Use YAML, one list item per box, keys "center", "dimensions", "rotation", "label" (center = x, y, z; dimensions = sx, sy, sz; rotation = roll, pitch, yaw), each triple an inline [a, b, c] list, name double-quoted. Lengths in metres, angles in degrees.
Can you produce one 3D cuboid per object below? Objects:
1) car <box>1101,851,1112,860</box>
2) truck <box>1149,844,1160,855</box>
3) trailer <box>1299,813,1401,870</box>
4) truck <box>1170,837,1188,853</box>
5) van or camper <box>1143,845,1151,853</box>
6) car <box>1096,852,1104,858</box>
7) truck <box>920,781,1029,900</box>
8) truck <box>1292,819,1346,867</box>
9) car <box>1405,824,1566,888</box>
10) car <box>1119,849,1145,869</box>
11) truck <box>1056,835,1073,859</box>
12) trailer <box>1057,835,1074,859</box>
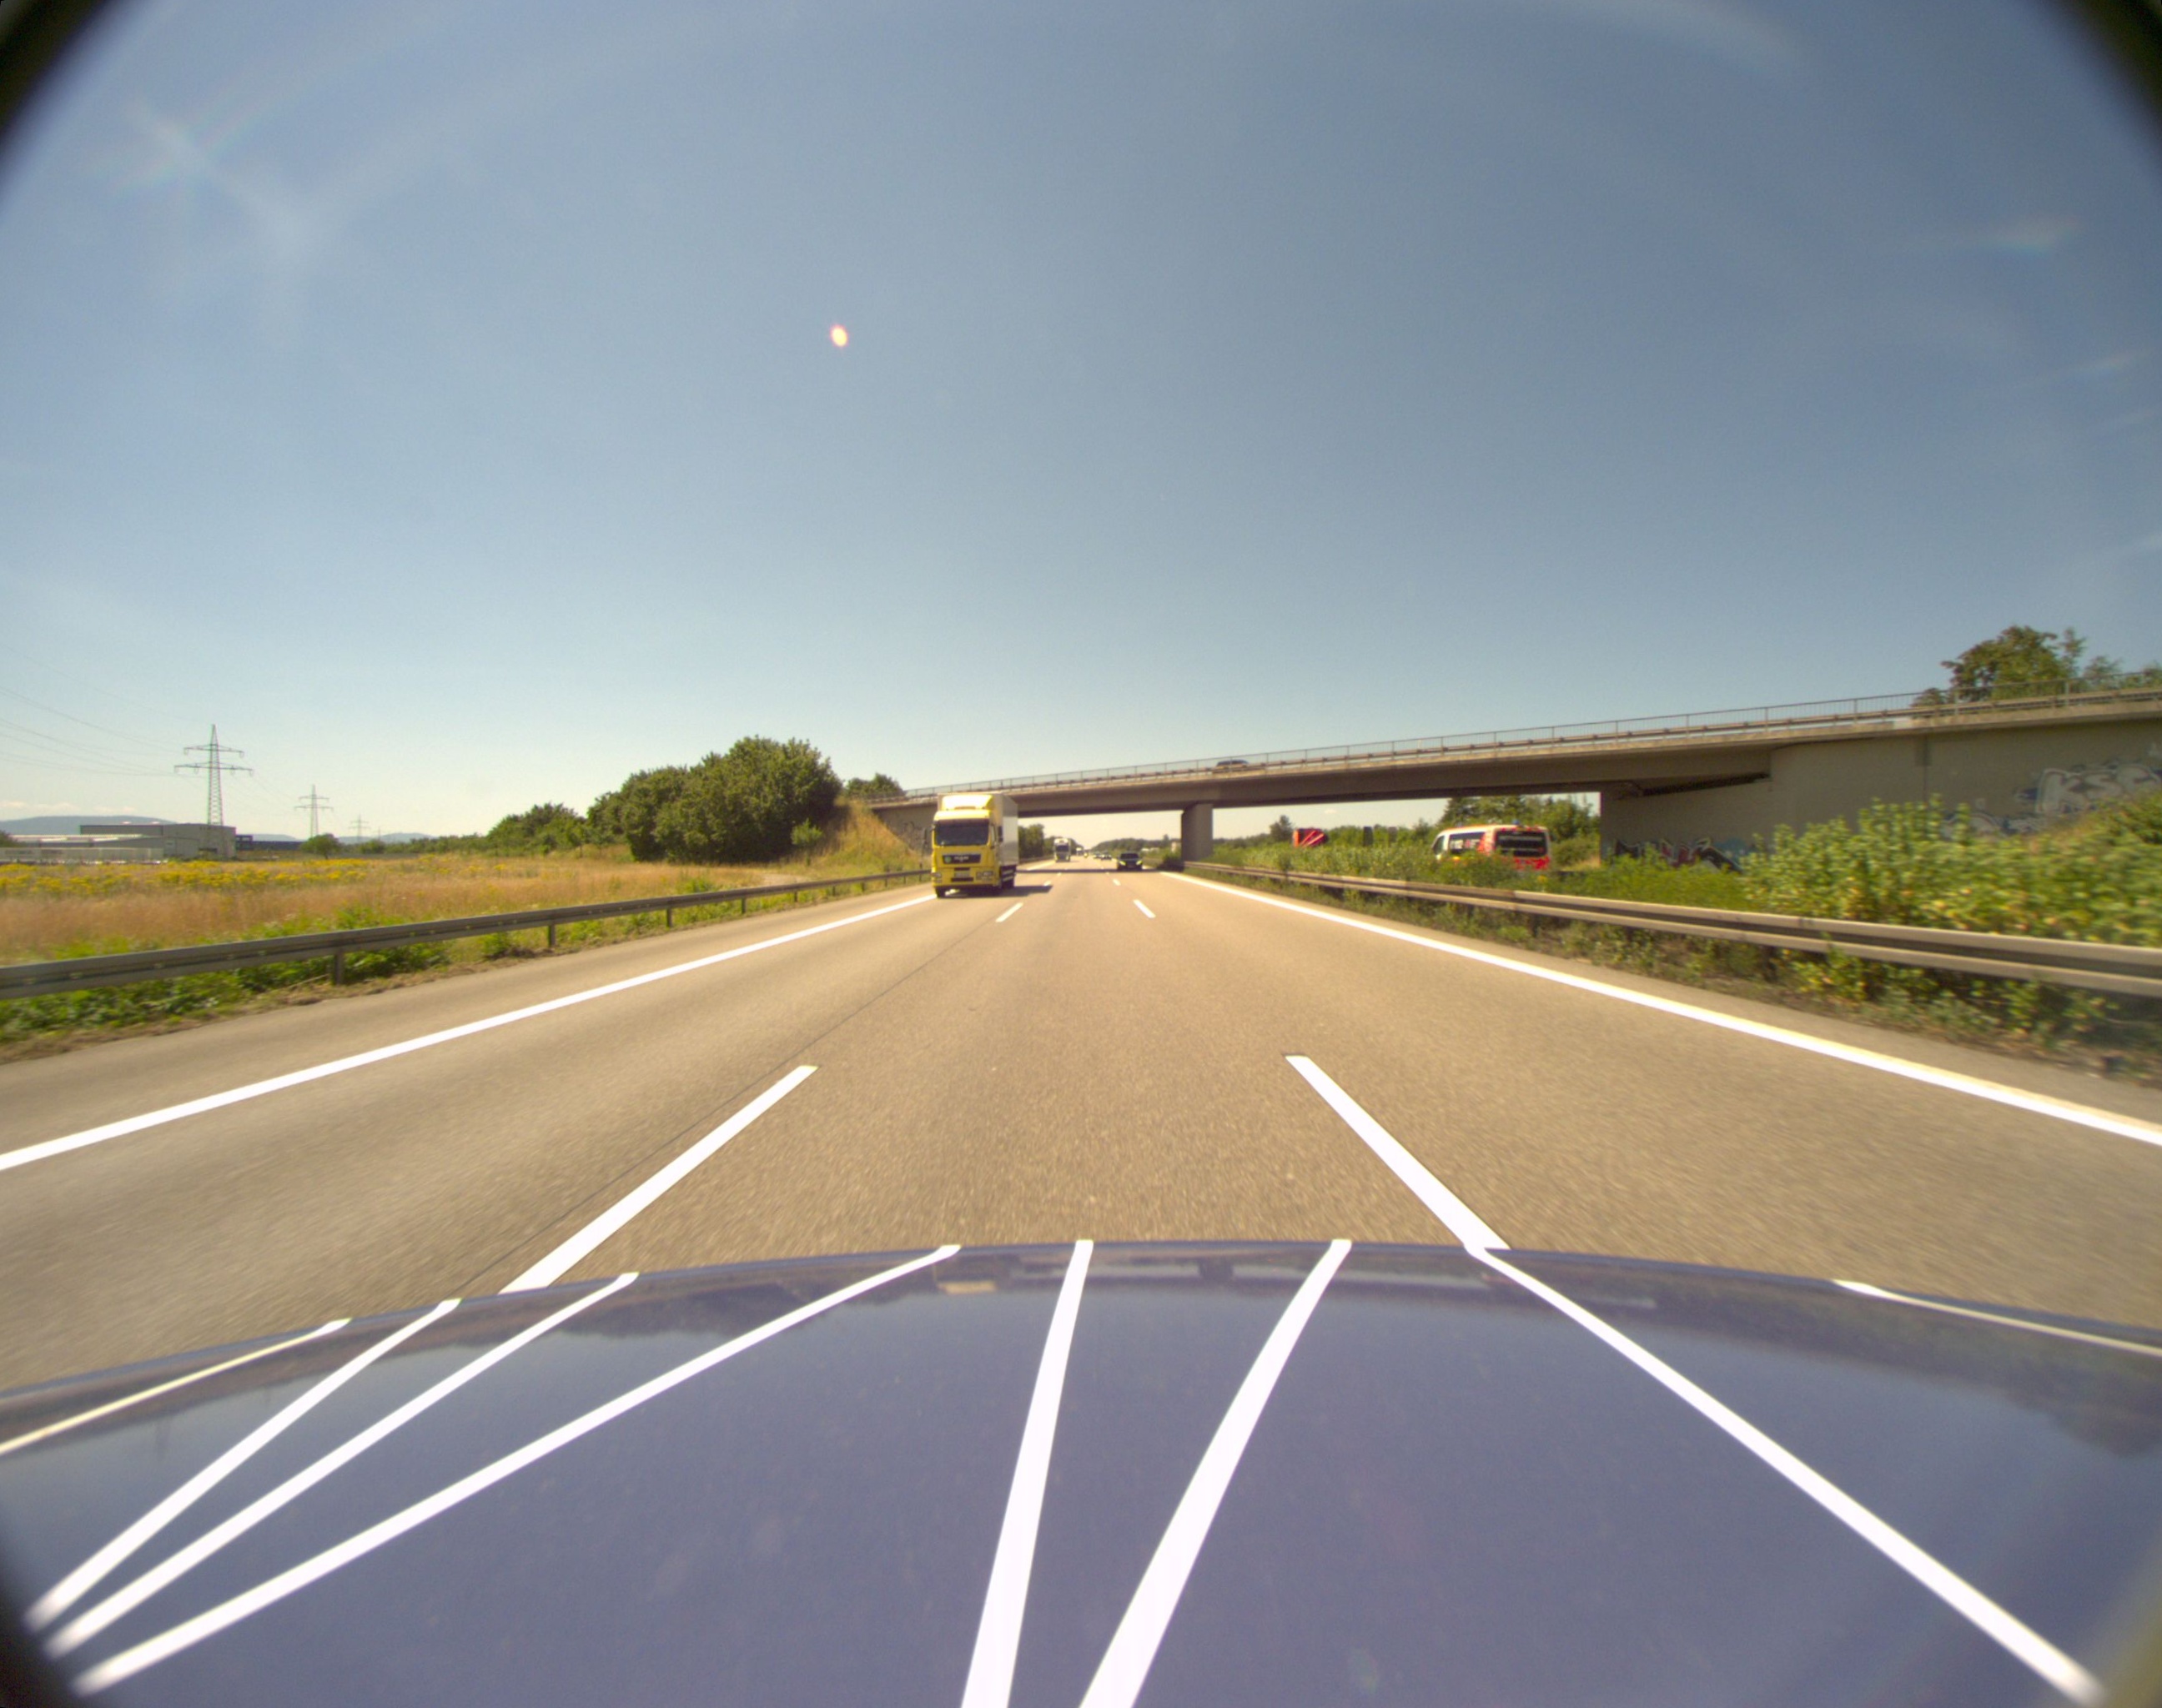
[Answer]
- center: [4.567, 0.242, 134.942]
  dimensions: [1.811, 1.417, 4.000]
  rotation: [-2, 0, 1]
  label: "car"
- center: [17.576, -1.062, 181.381]
  dimensions: [1.998, 2.385, 6.419]
  rotation: [-2, 0, 2]
  label: "truck"
- center: [20.875, -0.903, 60.423]
  dimensions: [2.618, 3.861, 15.581]
  rotation: [-2, 0, 0]
  label: "trailer"
- center: [22.329, -2.088, 173.876]
  dimensions: [2.884, 3.477, 10.735]
  rotation: [-2, 0, 2]
  label: "truck"
- center: [23.302, -1.780, 268.103]
  dimensions: [1.998, 2.530, 6.298]
  rotation: [-2, 0, 0]
  label: "van or camper"
- center: [4.270, 0.255, 172.989]
  dimensions: [1.811, 1.417, 4.000]
  rotation: [-2, 0, 1]
  label: "car"
- center: [-4.198, -0.514, 32.717]
  dimensions: [2.941, 4.175, 10.680]
  rotation: [-2, 0, 0]
  label: "truck"
- center: [20.925, -0.934, 67.190]
  dimensions: [2.618, 3.875, 6.499]
  rotation: [-2, 0, 0]
  label: "truck"
- center: [12.768, 0.047, 24.491]
  dimensions: [2.097, 1.770, 5.460]
  rotation: [-2, 0, -2]
  label: "car"
- center: [3.978, 0.392, 59.734]
  dimensions: [1.811, 1.459, 4.000]
  rotation: [-2, 0, 1]
  label: "car"
- center: [-2.840, -1.188, 132.107]
  dimensions: [2.476, 4.038, 6.319]
  rotation: [-2, 0, 1]
  label: "truck"
- center: [-2.763, -1.224, 138.627]
  dimensions: [2.476, 4.038, 13.879]
  rotation: [-2, 0, 1]
  label: "trailer"
